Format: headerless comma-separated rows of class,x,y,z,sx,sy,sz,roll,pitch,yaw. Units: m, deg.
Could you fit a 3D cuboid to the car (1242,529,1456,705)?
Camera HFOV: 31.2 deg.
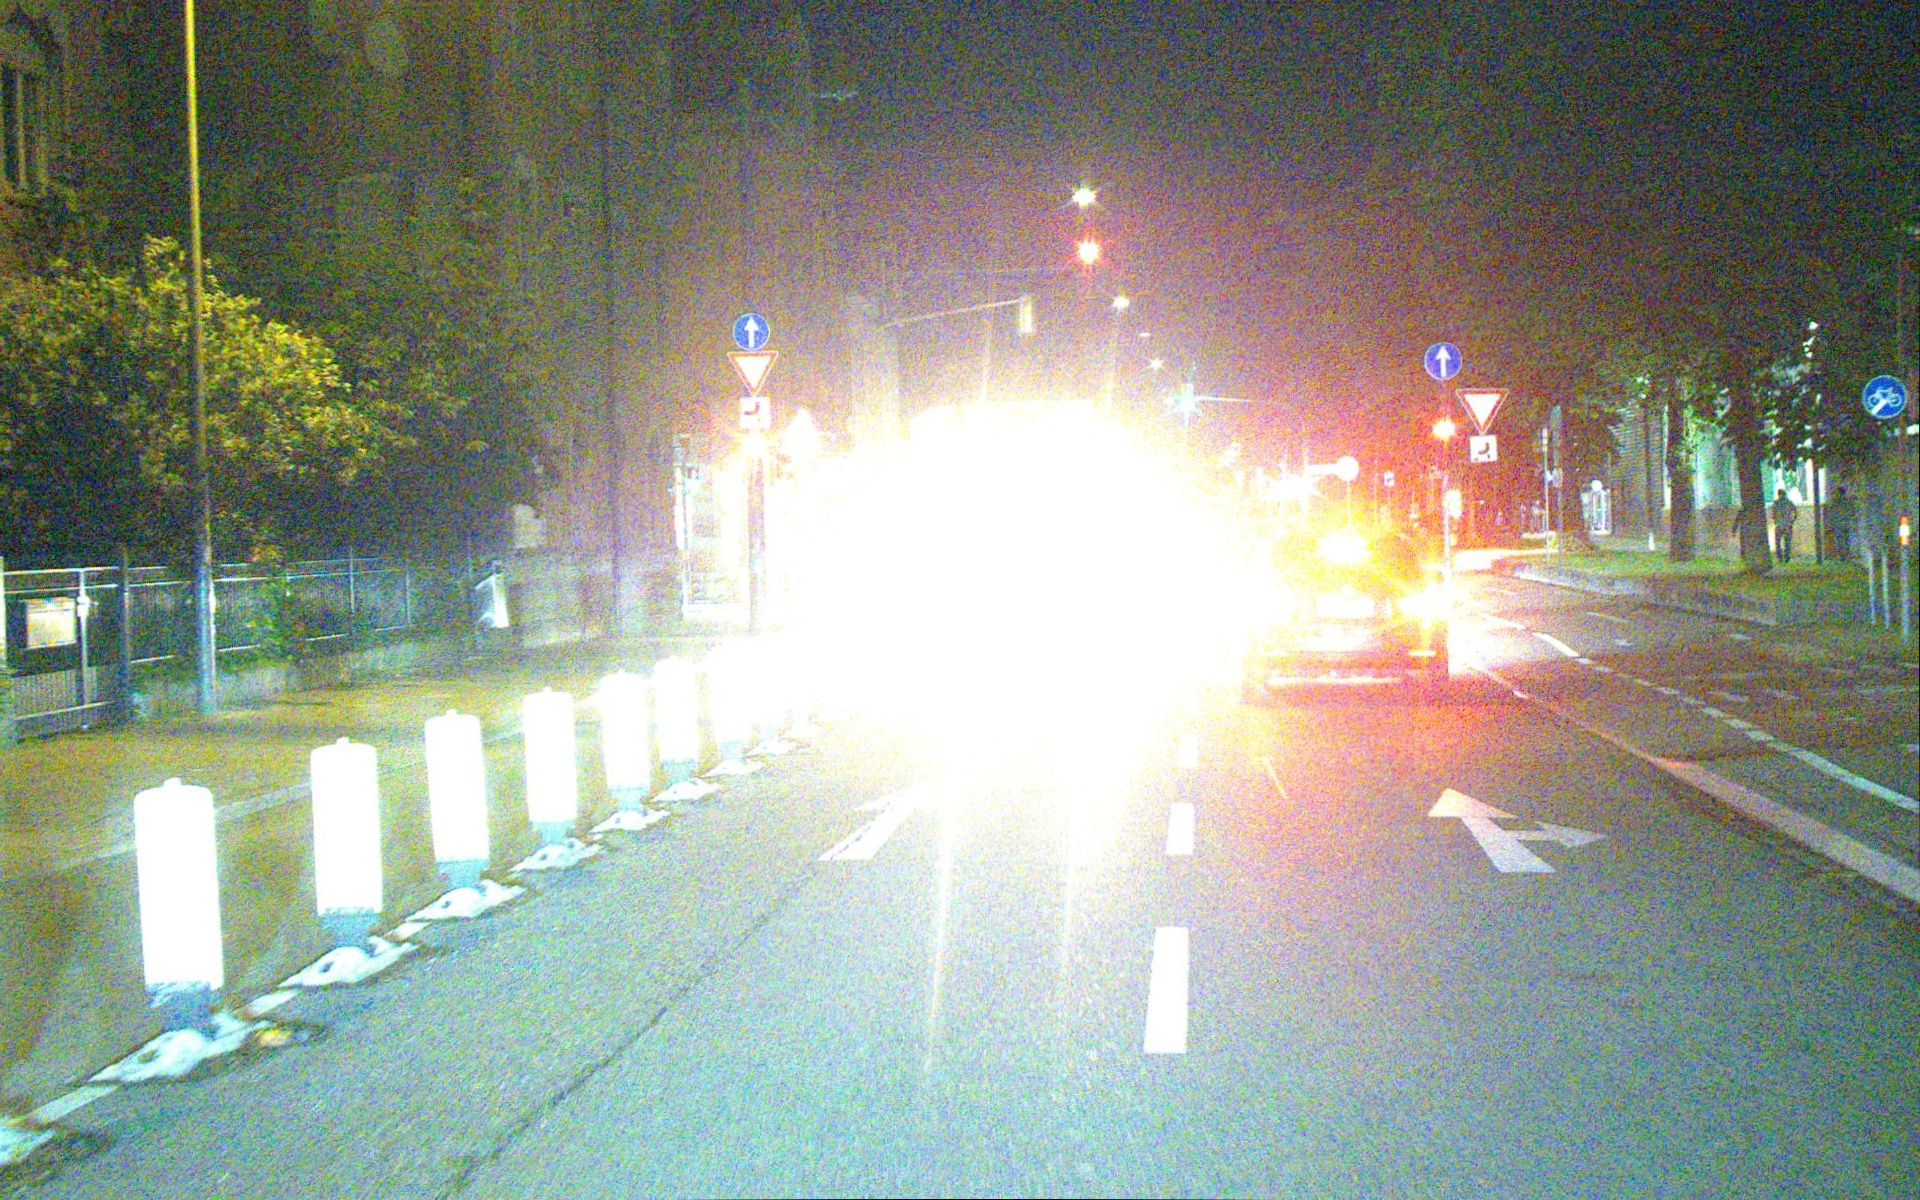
car,3.510,0.093,31.659,1.805,1.489,4.729,0,1,5

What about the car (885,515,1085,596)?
car,0.567,-0.982,75.474,3.988,1.634,1.999,-2,1,-39

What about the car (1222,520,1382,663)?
car,3.735,-0.138,38.030,1.637,1.489,4.000,0,1,4

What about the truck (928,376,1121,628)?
truck,1.156,-1.607,57.605,2.755,3.705,10.113,-3,1,2

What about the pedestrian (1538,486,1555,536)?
pedestrian,23.765,-3.619,139.319,0.531,2.007,0.670,-2,1,3

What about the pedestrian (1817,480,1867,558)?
pedestrian,20.563,-1.897,80.157,0.901,1.763,0.907,-3,1,4

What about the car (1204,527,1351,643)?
car,4.097,-0.226,44.886,1.729,1.430,4.210,0,1,3

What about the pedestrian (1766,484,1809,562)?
pedestrian,19.219,-1.793,79.857,0.739,1.763,0.907,-3,1,4

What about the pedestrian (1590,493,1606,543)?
pedestrian,25.783,-3.305,138.931,0.488,2.007,0.551,-2,1,3

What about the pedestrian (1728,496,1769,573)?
pedestrian,18.385,-1.536,80.157,0.714,1.763,0.907,-3,1,4
